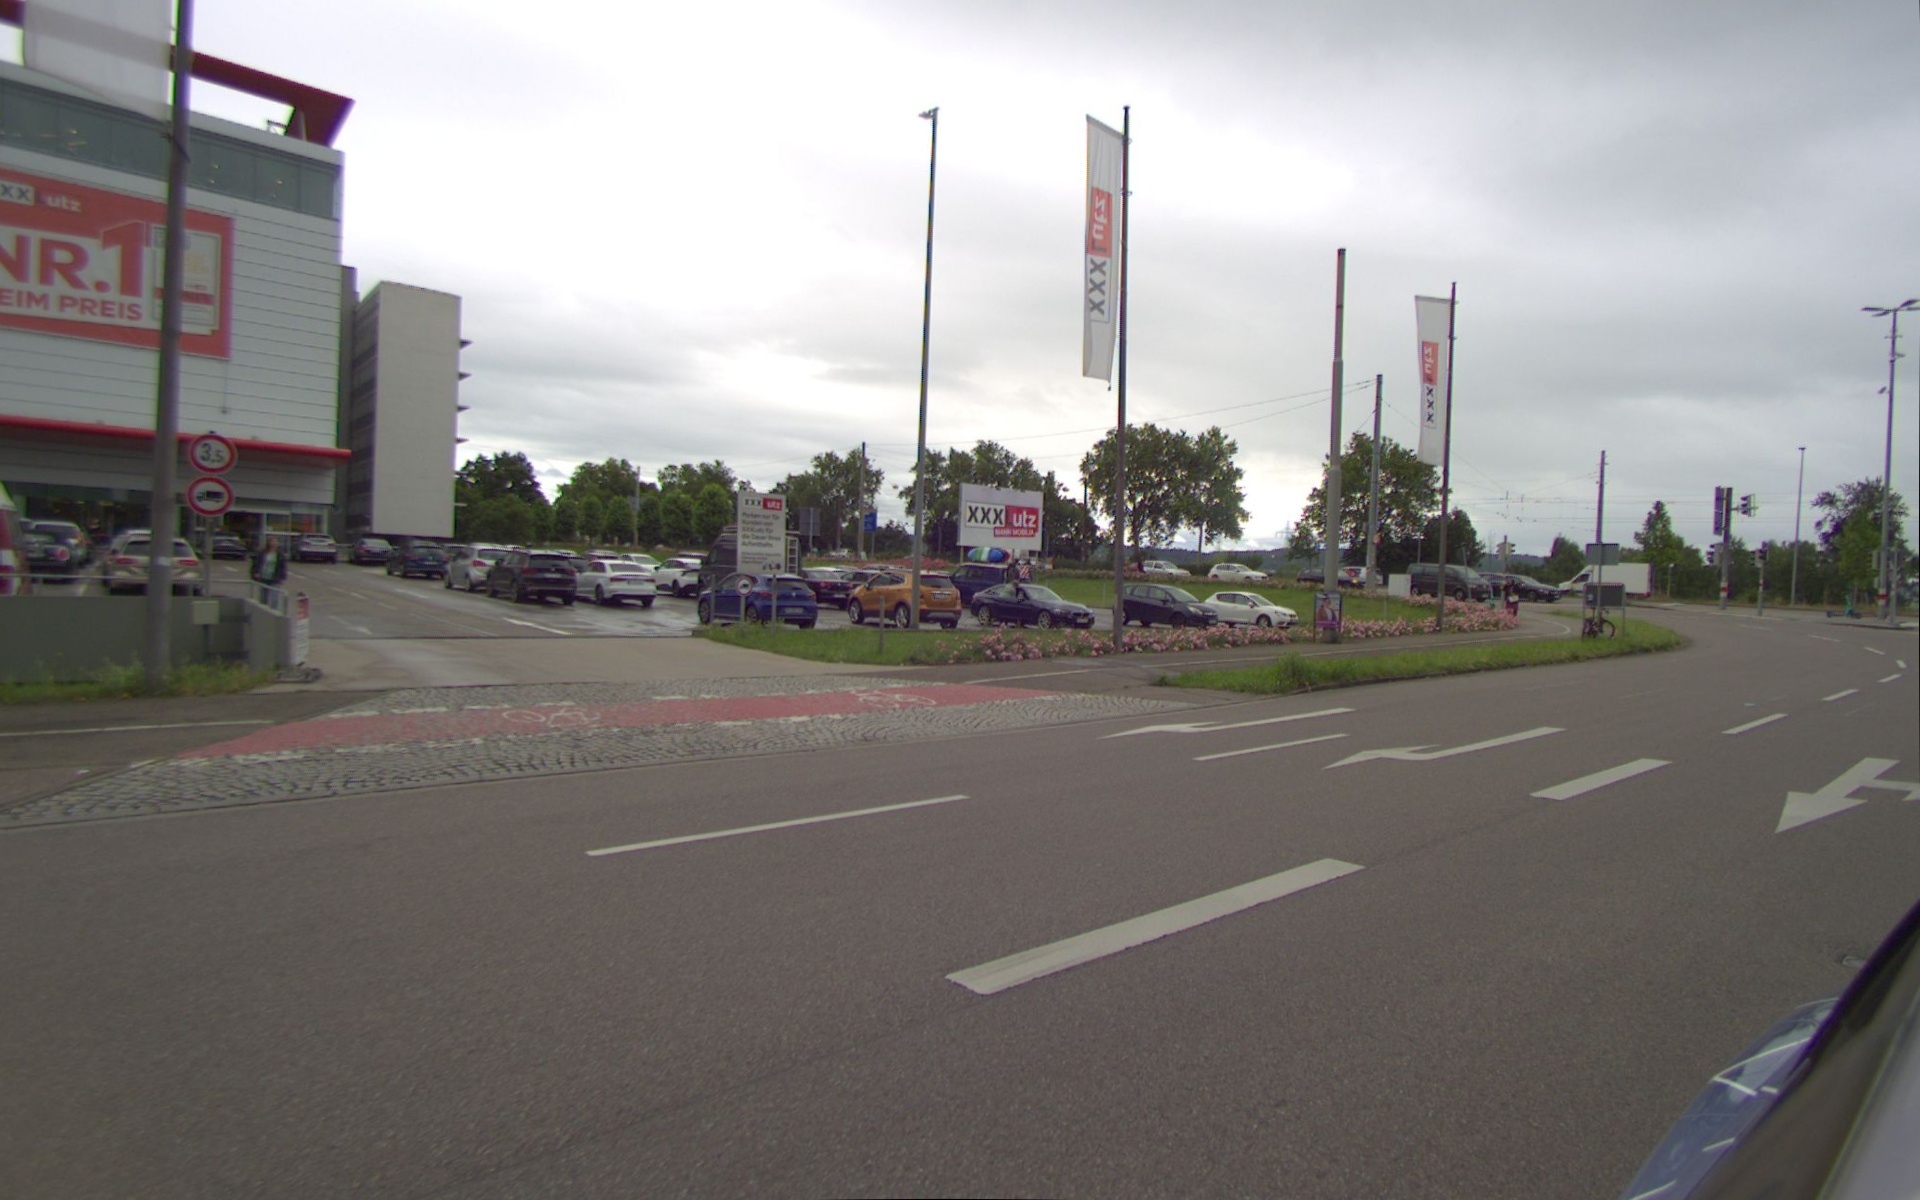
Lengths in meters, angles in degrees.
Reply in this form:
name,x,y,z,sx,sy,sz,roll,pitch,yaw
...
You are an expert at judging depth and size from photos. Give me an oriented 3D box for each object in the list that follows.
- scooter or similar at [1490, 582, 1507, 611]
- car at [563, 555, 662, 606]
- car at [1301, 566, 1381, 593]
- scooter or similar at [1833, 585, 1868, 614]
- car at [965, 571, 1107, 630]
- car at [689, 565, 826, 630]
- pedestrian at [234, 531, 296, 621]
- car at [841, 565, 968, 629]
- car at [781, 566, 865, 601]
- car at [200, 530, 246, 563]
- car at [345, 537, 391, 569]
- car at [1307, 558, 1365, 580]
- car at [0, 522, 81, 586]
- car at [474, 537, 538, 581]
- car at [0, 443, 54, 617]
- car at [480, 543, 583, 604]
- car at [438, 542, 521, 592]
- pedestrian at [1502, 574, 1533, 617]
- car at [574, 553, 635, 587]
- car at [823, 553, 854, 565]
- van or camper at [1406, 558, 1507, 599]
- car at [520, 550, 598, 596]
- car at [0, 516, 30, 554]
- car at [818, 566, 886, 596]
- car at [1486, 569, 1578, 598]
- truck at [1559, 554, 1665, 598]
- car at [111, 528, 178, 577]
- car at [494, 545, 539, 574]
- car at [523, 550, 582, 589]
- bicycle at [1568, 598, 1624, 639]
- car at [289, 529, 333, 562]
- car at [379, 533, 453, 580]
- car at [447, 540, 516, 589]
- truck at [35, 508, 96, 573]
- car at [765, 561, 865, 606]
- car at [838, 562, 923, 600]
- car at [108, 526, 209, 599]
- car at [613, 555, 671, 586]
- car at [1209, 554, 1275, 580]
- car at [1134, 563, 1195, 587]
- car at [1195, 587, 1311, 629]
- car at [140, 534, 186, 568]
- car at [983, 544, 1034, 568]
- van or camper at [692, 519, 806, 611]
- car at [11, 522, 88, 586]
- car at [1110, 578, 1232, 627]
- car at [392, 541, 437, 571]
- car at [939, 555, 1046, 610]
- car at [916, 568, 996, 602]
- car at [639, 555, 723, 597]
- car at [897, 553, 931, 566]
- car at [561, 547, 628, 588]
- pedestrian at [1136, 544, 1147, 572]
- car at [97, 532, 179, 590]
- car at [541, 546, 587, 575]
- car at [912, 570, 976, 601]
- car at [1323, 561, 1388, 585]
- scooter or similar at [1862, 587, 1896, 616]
name,x,y,z,sx,sy,sz,roll,pitch,yaw
scooter or similar,23.254,-0.167,43.707,0.341,1.248,1.161,0,1,11
car,-11.431,-0.674,33.164,1.830,1.571,3.997,0,2,-39
car,23.817,-1.313,63.347,1.931,1.482,4.324,1,3,-35
scooter or similar,41.574,-0.020,47.258,0.314,1.271,1.118,-1,3,-26
car,2.317,-0.038,31.988,1.740,1.602,4.534,-5,5,-41
car,-5.201,-0.124,25.651,1.782,1.473,3.997,0,2,-39
pedestrian,-14.060,-0.486,20.470,0.870,1.741,0.941,3,-1,-41
car,-1.660,-0.135,29.010,1.781,1.663,4.001,0,2,-35
car,-6.228,-0.772,45.852,1.802,1.486,3.894,0,2,-45
car,-37.562,-2.694,51.539,1.692,1.495,3.537,3,0,-39
car,-32.503,-2.615,55.511,1.621,1.579,3.615,2,2,-38
car,32.421,-2.686,87.308,4.233,1.672,1.757,4,1,42
car,-25.821,-1.264,28.201,1.754,1.655,3.998,0,1,-38
car,-22.338,-2.011,49.712,1.964,2.039,3.997,0,1,-38
car,-16.561,-1.173,16.583,2.130,2.612,4.735,3,0,-38
car,-13.437,-0.856,31.634,1.800,1.674,3.899,2,2,-41
car,-17.115,-1.179,35.964,1.663,1.600,3.902,2,1,-40
pedestrian,21.803,-0.192,39.585,0.702,1.616,0.785,-1,3,-24
car,-18.940,-1.594,53.790,1.914,1.674,3.999,0,3,-37
car,-17.005,-5.741,141.476,4.186,1.571,1.832,4,1,42
van or camper,27.622,-1.228,56.513,2.080,2.037,4.765,-1,4,-24
car,-14.601,-0.984,36.730,1.627,1.575,3.676,0,1,-39
car,-42.865,-2.900,45.160,1.798,1.573,3.801,3,0,-40
car,-6.128,-1.069,57.112,1.802,1.535,3.993,0,3,-43
car,32.641,-0.972,57.881,1.800,1.482,4.215,0,3,-27
truck,50.293,-1.878,78.164,6.514,2.959,2.788,4,1,39
car,-30.503,-1.758,37.827,1.803,1.675,3.994,0,2,-41
car,-26.857,-2.463,61.223,1.621,1.579,3.615,2,2,-38
car,-20.846,-1.593,51.720,1.787,1.840,3.999,0,3,-37
bicycle,17.427,0.487,27.721,1.659,1.061,0.666,0,2,-34
car,-34.860,-2.941,54.330,1.621,1.579,3.615,2,2,-38
car,-23.307,-1.895,43.317,1.823,1.797,4.192,2,2,-42
car,-21.416,-1.598,45.217,1.850,2.073,3.996,0,2,-39
truck,-35.030,-2.288,39.705,1.709,2.416,3.575,0,1,-41
car,-5.516,-0.637,38.093,1.964,1.588,3.996,0,1,-39
car,-3.755,-0.901,47.206,1.965,1.696,3.994,0,2,-41
car,-20.191,-0.919,25.579,1.800,1.604,4.424,3,0,-38
car,-17.560,-1.658,55.777,1.746,1.550,3.999,1,3,-38
car,19.284,-2.265,69.218,1.702,1.558,4.042,3,1,-40
car,14.981,-1.840,74.282,1.717,1.622,4.068,3,0,-42
car,11.710,0.297,40.631,1.842,1.464,4.114,3,0,-41
car,-39.598,-2.415,50.278,1.692,1.495,3.537,3,0,-39
car,5.876,-5.365,123.684,5.884,2.658,2.622,4,1,45
van or camper,-7.601,-1.246,36.014,1.953,3.020,5.399,1,2,-35
car,-32.476,-1.627,36.134,1.881,2.082,3.993,3,0,-42
car,7.669,0.083,37.098,1.740,1.603,4.097,2,1,-43
car,-31.178,-2.502,57.824,1.621,1.580,3.613,2,0,-38
car,1.348,-0.808,44.660,2.082,2.191,5.054,0,3,-35
car,-0.229,-0.755,49.882,1.713,1.494,4.209,0,2,-38
car,-11.219,-0.973,40.606,1.821,1.575,3.997,0,1,-39
car,-5.880,-5.172,129.658,4.330,1.408,1.847,5,1,43
car,-17.519,-1.564,48.365,1.800,1.884,3.997,0,2,-39
pedestrian,12.178,-2.830,68.039,0.624,1.804,0.545,3,-1,7
car,-24.001,-1.129,29.658,1.707,1.487,4.251,3,0,-38
car,-24.517,-2.472,62.628,1.621,1.579,3.615,2,2,-38
car,-1.004,-0.919,62.284,1.880,1.778,3.997,0,1,-39
car,35.788,-2.460,91.647,5.097,1.903,2.071,4,1,39
scooter or similar,42.461,0.064,46.759,0.455,1.271,1.020,0,3,-27
